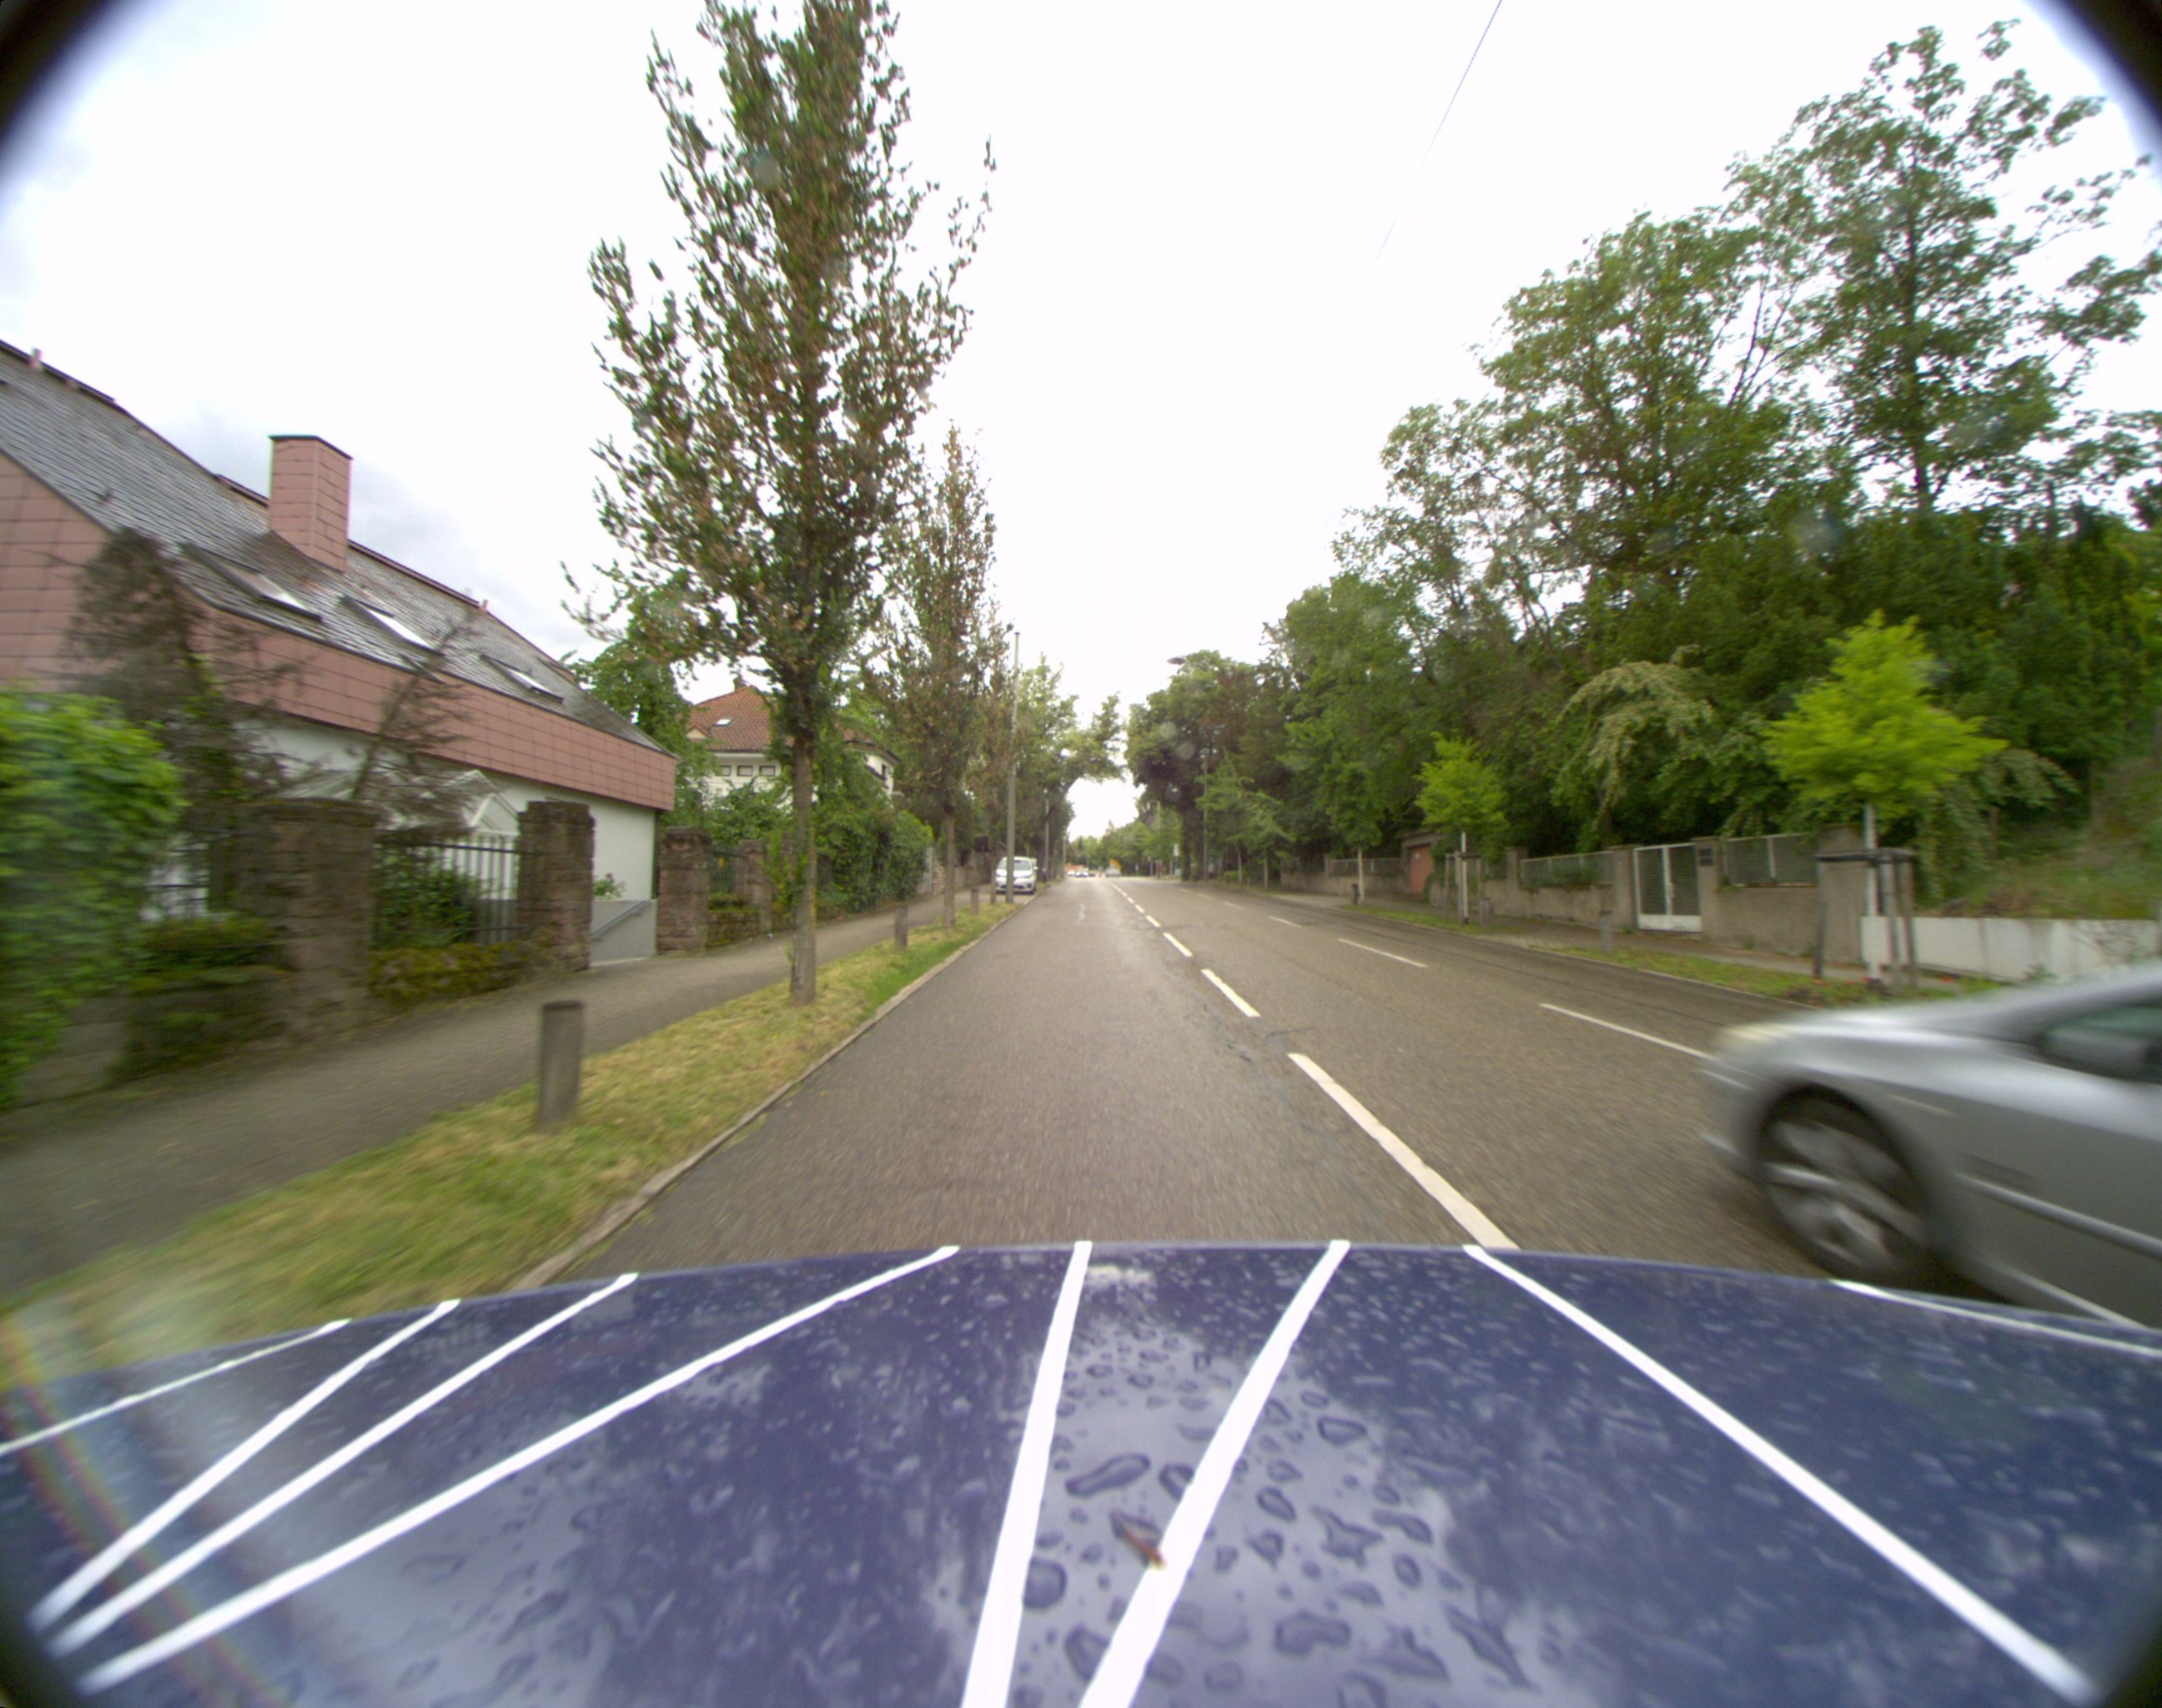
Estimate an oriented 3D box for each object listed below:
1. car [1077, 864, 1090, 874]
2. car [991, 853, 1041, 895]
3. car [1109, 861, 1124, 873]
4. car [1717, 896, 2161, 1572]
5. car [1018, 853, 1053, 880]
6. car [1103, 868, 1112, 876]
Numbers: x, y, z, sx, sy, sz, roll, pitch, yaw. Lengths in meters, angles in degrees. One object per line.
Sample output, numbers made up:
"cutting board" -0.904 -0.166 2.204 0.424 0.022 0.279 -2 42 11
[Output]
"car" 0.502 2.605 130.516 1.998 1.673 4.002 -3 -1 3
"car" -2.724 0.822 32.605 1.829 1.620 3.999 2 0 -1
"car" 4.608 1.690 99.017 1.798 1.500 4.093 0 0 0
"car" 3.366 0.928 0.956 1.766 1.477 4.000 1 0 1
"car" -2.883 0.841 49.183 1.923 1.557 4.221 2 -2 1
"car" 5.717 3.870 163.691 1.876 1.539 4.001 2 -2 1
